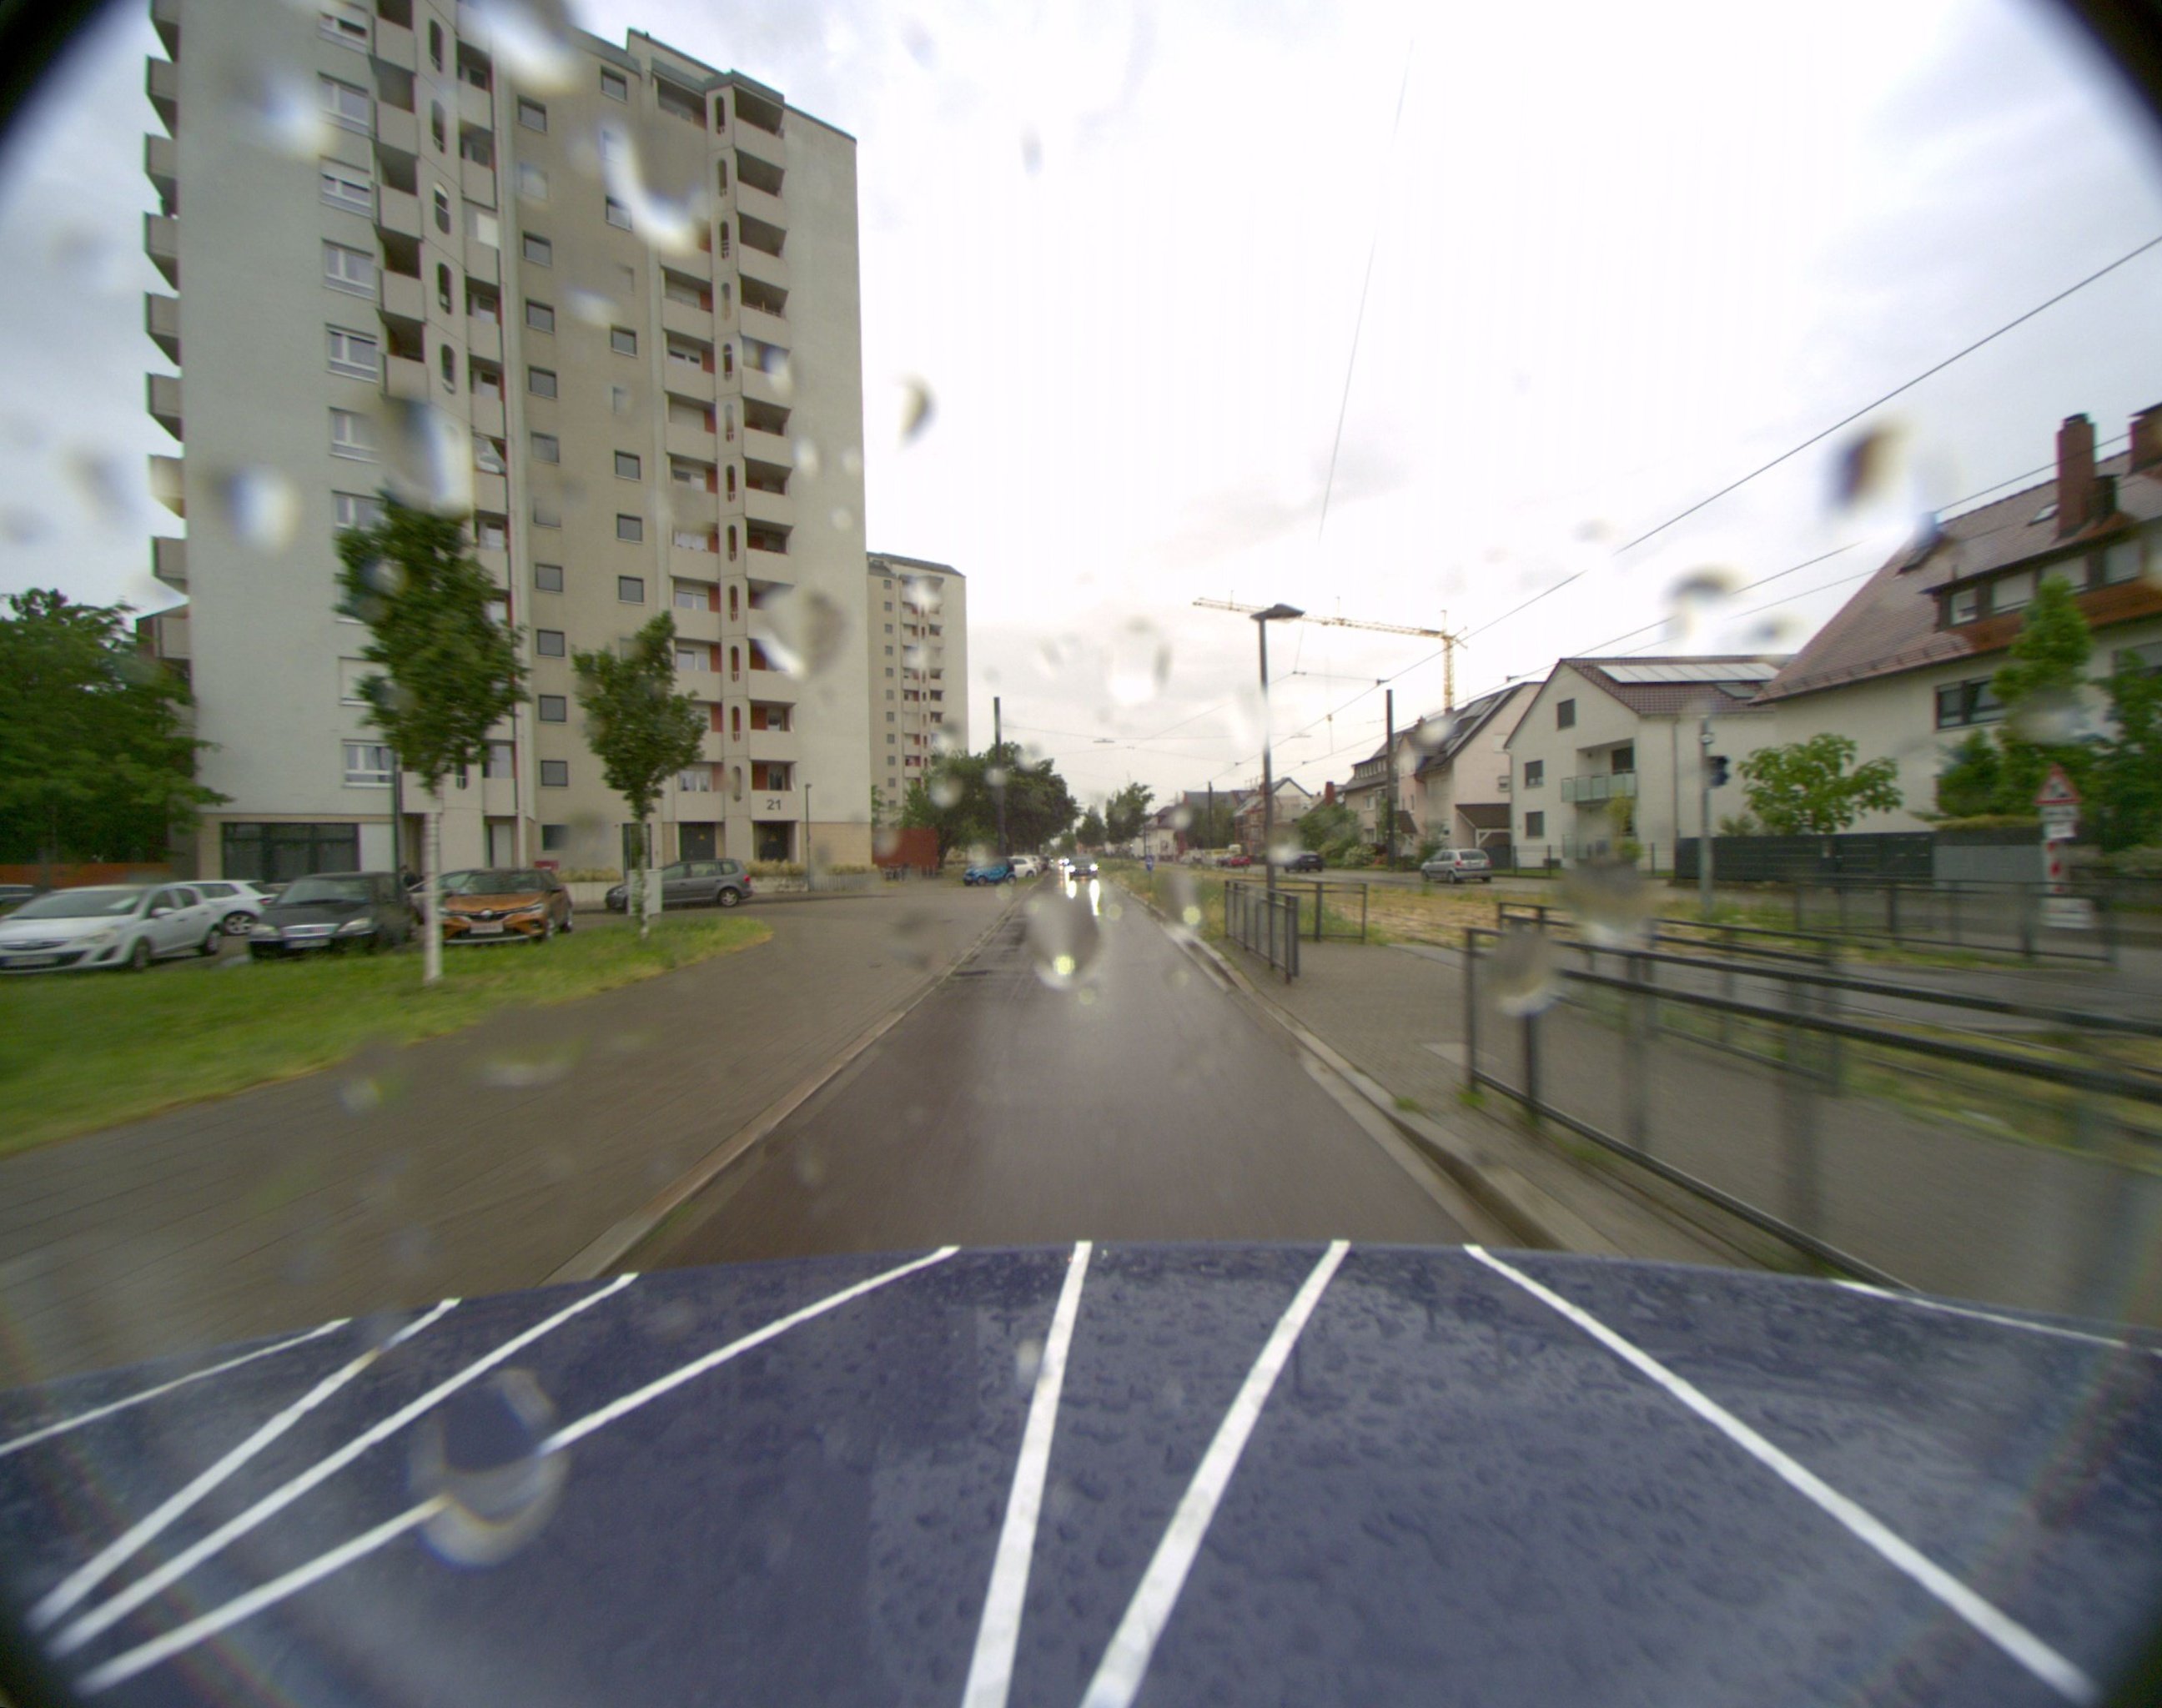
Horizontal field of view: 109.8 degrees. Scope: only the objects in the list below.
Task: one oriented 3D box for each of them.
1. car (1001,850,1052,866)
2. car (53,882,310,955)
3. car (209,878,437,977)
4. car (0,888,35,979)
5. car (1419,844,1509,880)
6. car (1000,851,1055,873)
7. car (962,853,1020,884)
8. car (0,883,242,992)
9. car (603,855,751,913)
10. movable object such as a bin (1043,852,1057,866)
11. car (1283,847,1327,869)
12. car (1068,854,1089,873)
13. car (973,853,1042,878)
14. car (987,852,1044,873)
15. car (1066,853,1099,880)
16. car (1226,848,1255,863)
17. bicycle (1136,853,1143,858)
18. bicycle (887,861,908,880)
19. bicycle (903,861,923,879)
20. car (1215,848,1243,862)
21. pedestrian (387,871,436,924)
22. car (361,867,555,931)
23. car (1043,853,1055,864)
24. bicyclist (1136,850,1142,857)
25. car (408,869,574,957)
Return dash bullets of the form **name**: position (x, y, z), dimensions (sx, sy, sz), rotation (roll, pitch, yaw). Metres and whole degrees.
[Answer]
- **car**: position (-5.061, 0.399, 70.630), dimensions (4.470, 1.419, 1.680), rotation (2, -1, -34)
- **car**: position (-22.802, 1.563, 19.509), dimensions (3.802, 1.466, 1.811), rotation (-3, 0, -30)
- **car**: position (-14.506, 1.290, 14.888), dimensions (2.003, 1.433, 3.991), rotation (-3, 1, -28)
- **car**: position (-19.053, 1.391, 11.728), dimensions (1.973, 1.577, 4.353), rotation (-2, 0, -34)
- **car**: position (16.740, 0.321, 33.445), dimensions (1.999, 1.406, 3.656), rotation (-2, 1, -2)
- **car**: position (-4.327, 0.673, 61.918), dimensions (4.194, 1.661, 1.680), rotation (2, -1, -37)
- **car**: position (-4.746, 0.755, 40.117), dimensions (2.570, 1.539, 1.598), rotation (-2, 1, -40)
- **car**: position (-17.110, 1.355, 13.244), dimensions (2.003, 1.433, 3.991), rotation (-3, 1, -28)
- **car**: position (-13.345, 0.950, 25.215), dimensions (4.119, 1.607, 1.811), rotation (-3, 0, -30)
- **movable object such as a bin**: position (-3.564, 0.540, 86.704), dimensions (1.165, 1.553, 1.372), rotation (-3, 2, -24)
- **car**: position (16.204, 0.294, 55.196), dimensions (1.841, 1.418, 4.174), rotation (-2, 0, -2)
- **car**: position (-0.230, 0.937, 77.291), dimensions (1.998, 1.762, 3.999), rotation (-2, 1, 0)
- **car**: position (-4.791, 0.758, 49.520), dimensions (4.195, 1.538, 1.760), rotation (2, -1, -40)
- **car**: position (-5.499, 0.693, 64.064), dimensions (4.470, 1.661, 1.808), rotation (2, -1, -39)
- **car**: position (0.068, 0.787, 49.927), dimensions (1.999, 1.611, 3.998), rotation (-2, 1, -1)
- **car**: position (15.995, 0.098, 76.255), dimensions (1.999, 1.365, 3.842), rotation (-2, 1, -2)
- **bicycle**: position (12.130, 0.386, 158.179), dimensions (0.937, 1.037, 3.433), rotation (-1, 0, -3)
- **bicycle**: position (-10.802, 0.979, 44.787), dimensions (0.663, 1.000, 2.058), rotation (-2, 1, 0)
- **bicycle**: position (-9.884, 0.928, 44.706), dimensions (0.663, 1.000, 2.058), rotation (-2, 1, 0)
- **car**: position (15.790, 0.137, 81.368), dimensions (1.999, 1.401, 4.174), rotation (-2, -1, -2)
- **pedestrian**: position (-20.385, 1.299, 23.173), dimensions (0.839, 1.509, 1.092), rotation (-3, 2, -29)
- **car**: position (-18.130, 1.263, 22.386), dimensions (4.119, 1.524, 1.811), rotation (-3, 0, -30)
- **car**: position (-5.626, 0.762, 133.730), dimensions (1.998, 1.696, 3.999), rotation (-2, 1, 0)
- **bicyclist**: position (12.088, -0.093, 158.603), dimensions (0.956, 1.575, 1.399), rotation (-2, 1, -2)
- **car**: position (-12.109, 1.104, 15.902), dimensions (2.003, 1.433, 3.991), rotation (-3, 1, -28)
